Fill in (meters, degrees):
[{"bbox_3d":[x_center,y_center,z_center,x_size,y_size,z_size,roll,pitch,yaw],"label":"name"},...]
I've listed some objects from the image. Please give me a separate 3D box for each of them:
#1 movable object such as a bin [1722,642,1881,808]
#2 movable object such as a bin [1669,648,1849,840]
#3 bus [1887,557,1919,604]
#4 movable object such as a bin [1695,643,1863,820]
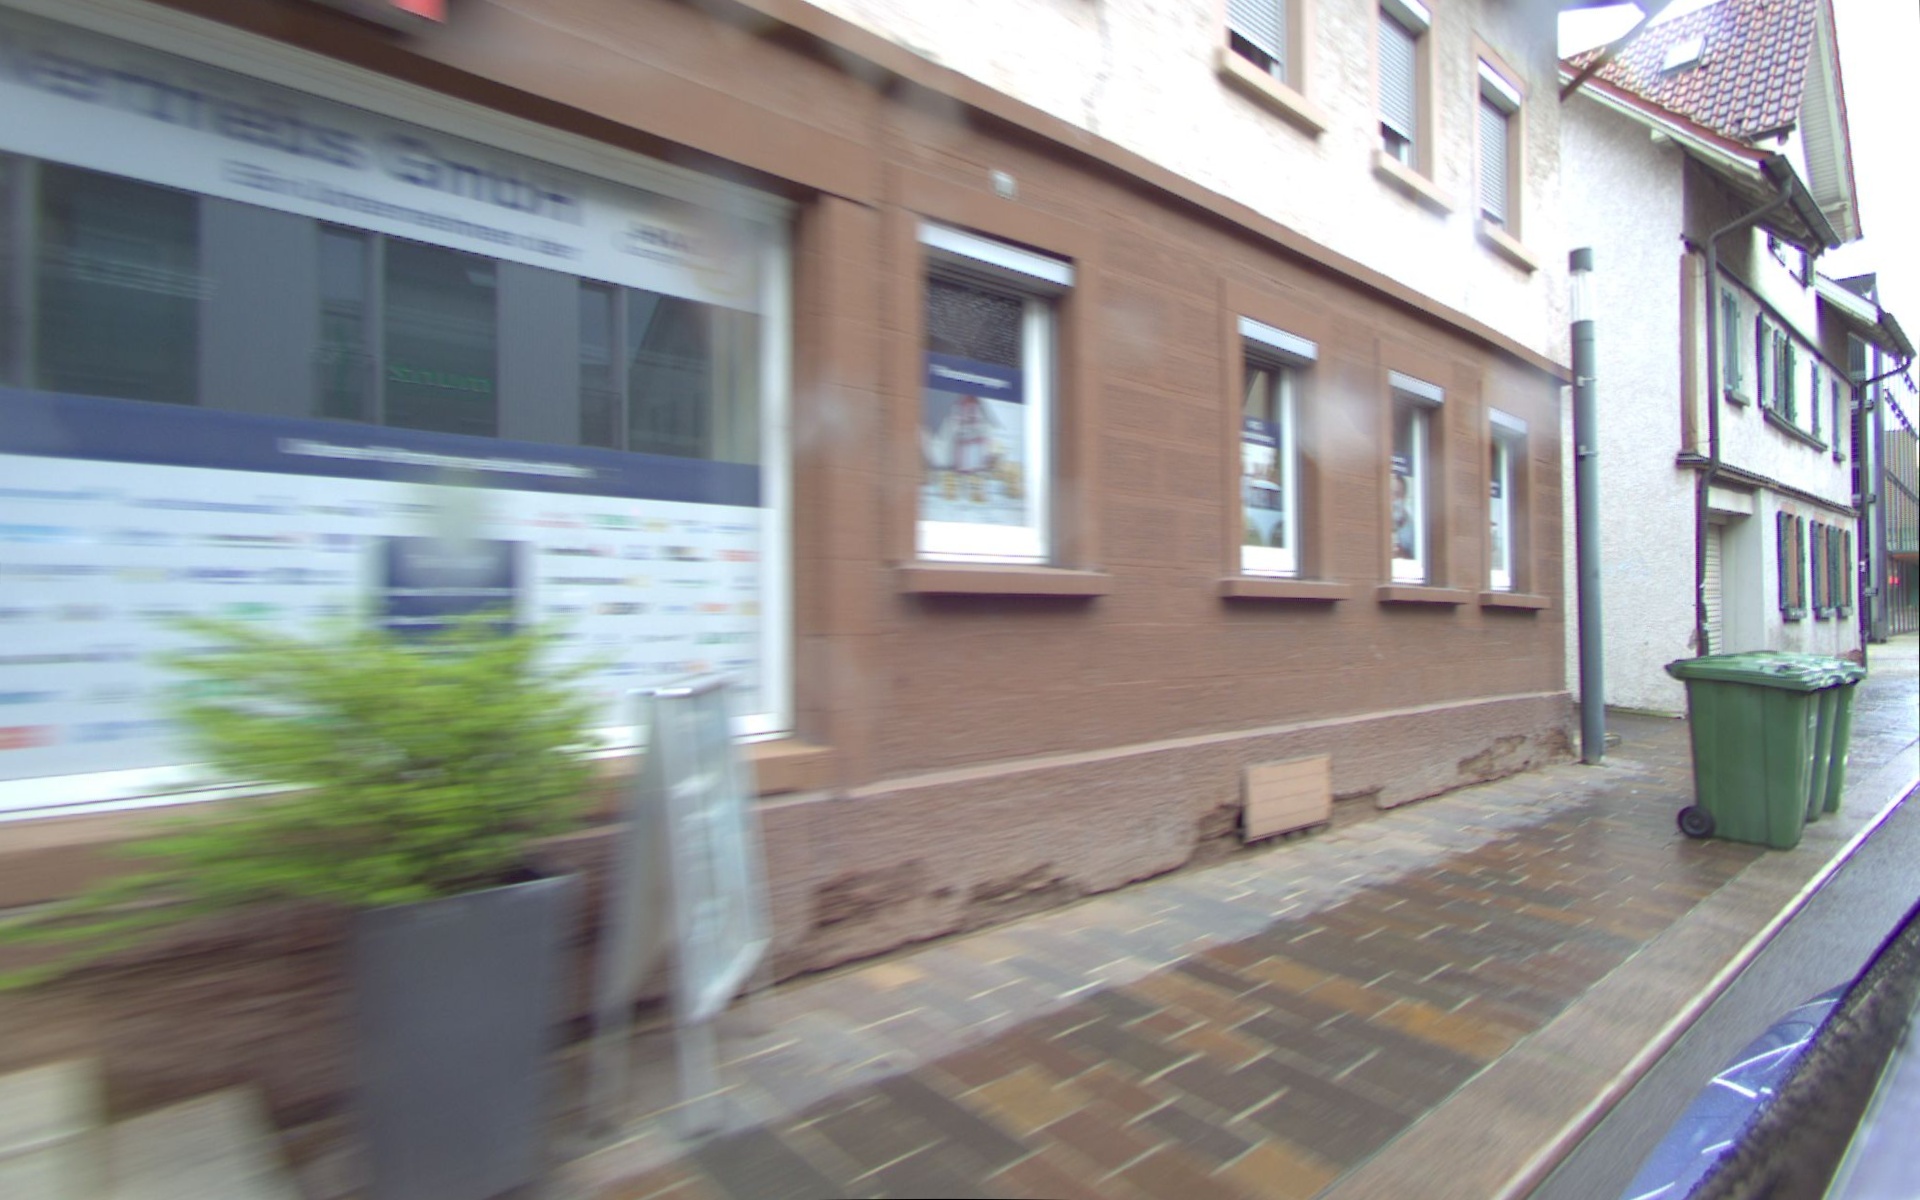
[{"bbox_3d":[5.832,0.826,7.020,0.627,1.035,0.733,0,-1,-39],"label":"movable object such as a bin"},{"bbox_3d":[4.858,0.829,6.164,0.627,1.035,0.733,0,-1,-39],"label":"movable object such as a bin"},{"bbox_3d":[68.444,-1.360,70.683,2.578,3.234,7.332,0,0,18],"label":"bus"},{"bbox_3d":[5.339,0.814,6.606,0.627,1.035,0.733,0,-1,-39],"label":"movable object such as a bin"}]
